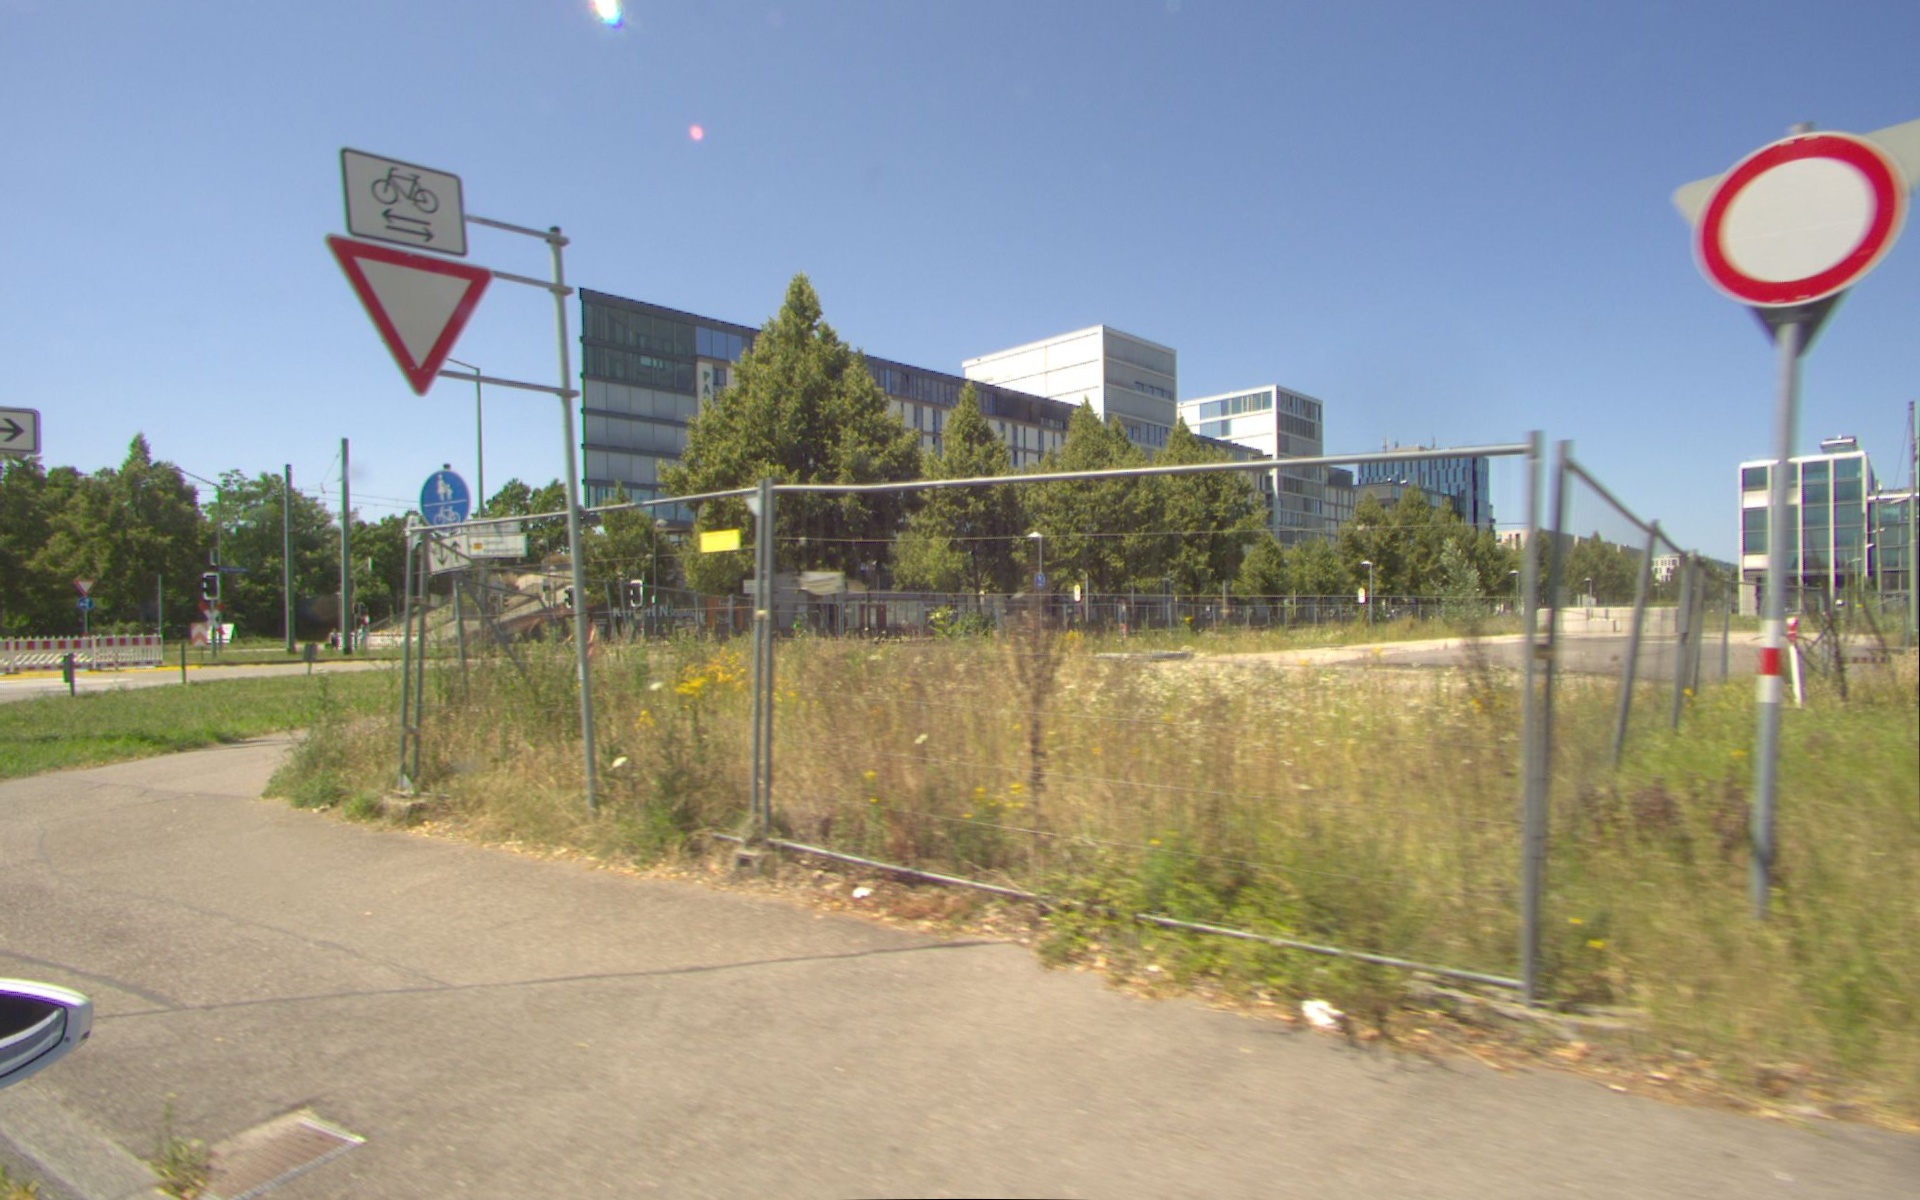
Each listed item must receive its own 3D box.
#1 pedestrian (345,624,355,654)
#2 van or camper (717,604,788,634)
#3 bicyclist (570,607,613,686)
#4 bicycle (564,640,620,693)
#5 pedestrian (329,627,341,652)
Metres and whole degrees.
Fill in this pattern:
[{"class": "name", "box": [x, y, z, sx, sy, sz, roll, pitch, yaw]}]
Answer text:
[{"class": "pedestrian", "box": [-36.767, 2.339, 60.380, 0.288, 1.761, 0.445, -1, -1, 43]}, {"class": "van or camper", "box": [-20.138, 1.846, 97.538, 2.356, 2.858, 6.732, -1, -1, 41]}, {"class": "bicyclist", "box": [-8.089, 1.008, 21.995, 0.633, 1.685, 0.710, -2, -1, 0]}, {"class": "bicycle", "box": [-8.048, 1.433, 22.001, 0.431, 1.071, 2.089, -1, -1, 0]}, {"class": "pedestrian", "box": [-36.843, 2.318, 59.026, 0.348, 1.448, 0.517, -1, 0, 41]}]
